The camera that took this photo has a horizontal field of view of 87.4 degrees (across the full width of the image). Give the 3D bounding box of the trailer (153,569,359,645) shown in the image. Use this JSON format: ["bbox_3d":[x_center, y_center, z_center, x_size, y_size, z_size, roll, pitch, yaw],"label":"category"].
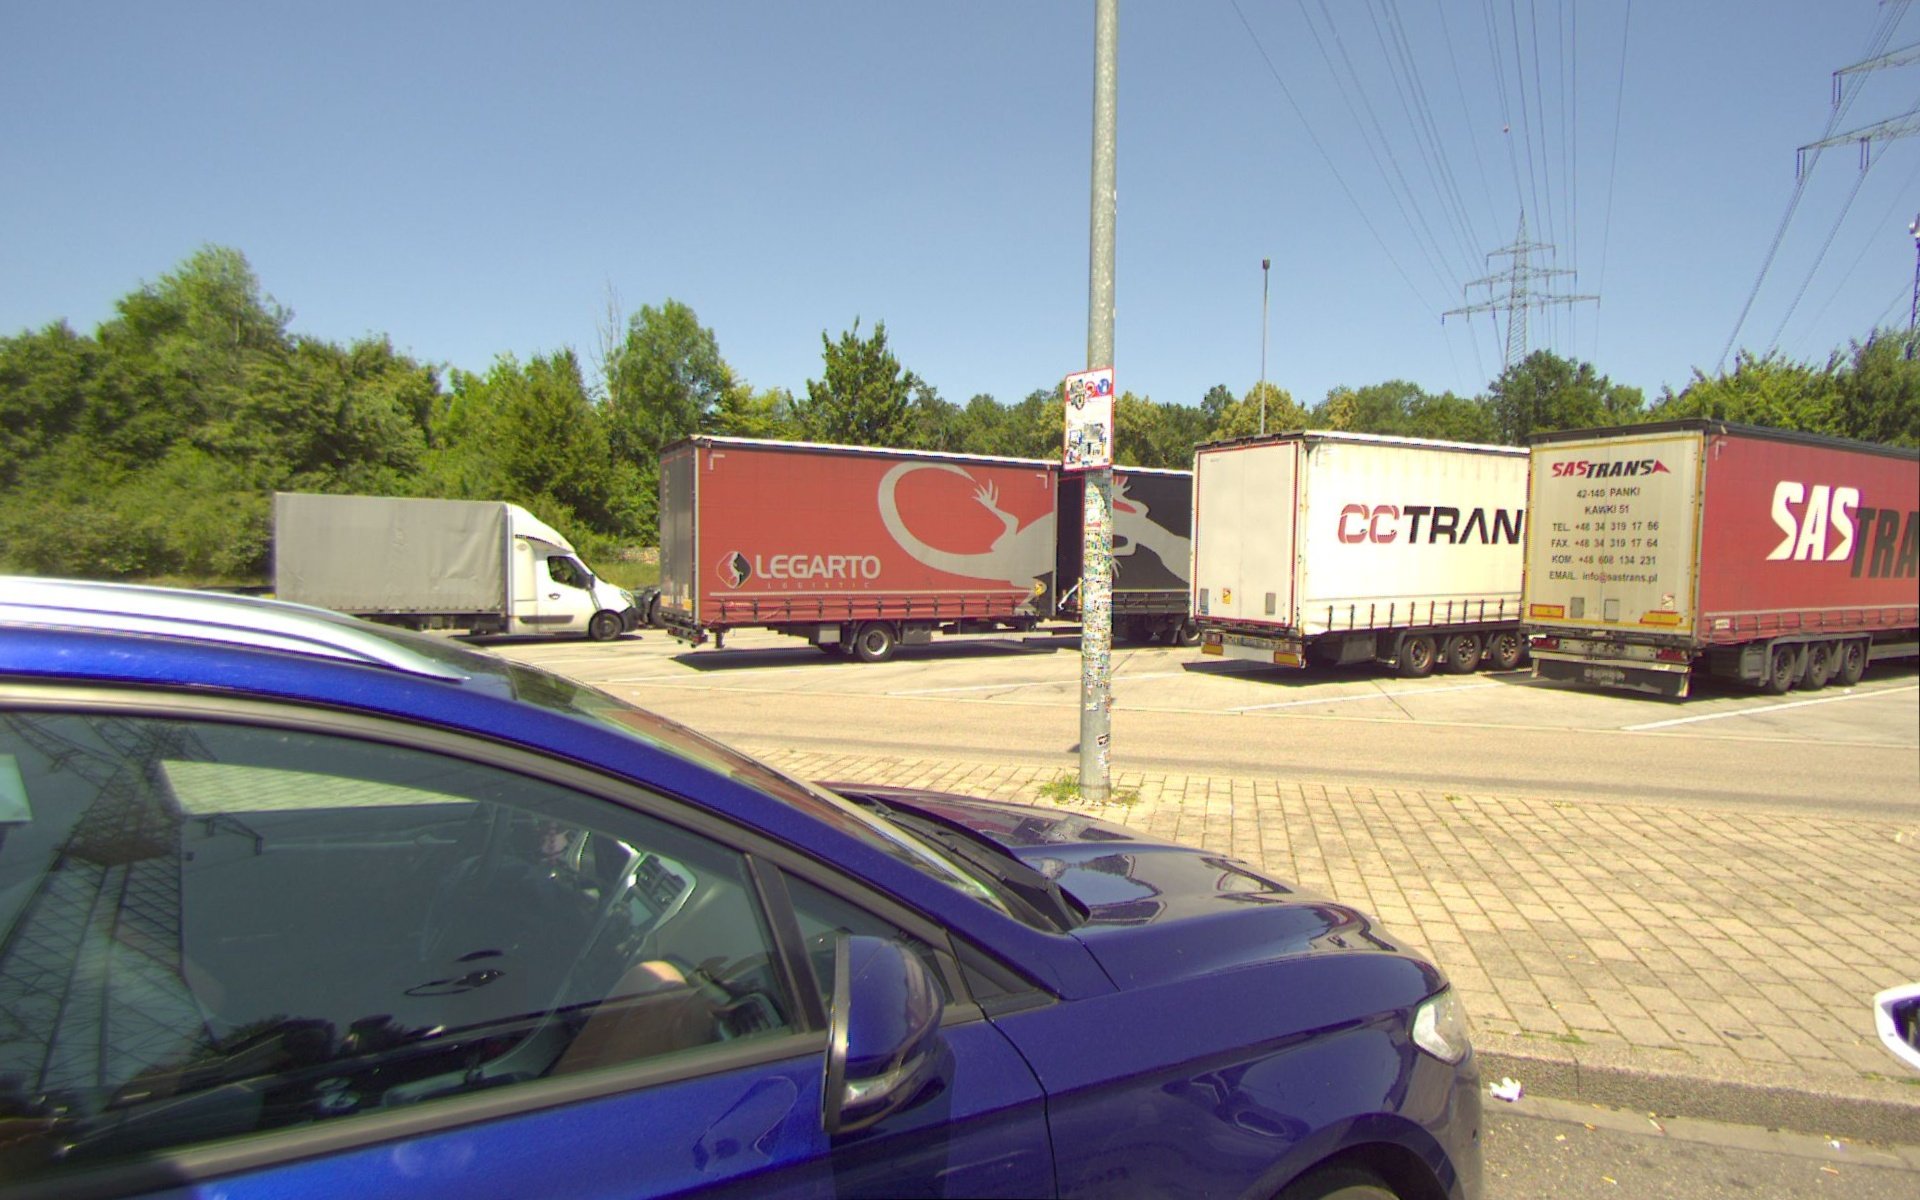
[{"bbox_3d":[-16.509,0.152,23.783,3.856,1.684,1.464,0,1,-30],"label":"trailer"}]

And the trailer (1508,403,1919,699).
[{"bbox_3d":[15.264,-0.674,18.497,13.129,4.112,2.736,0,1,-31],"label":"trailer"}]

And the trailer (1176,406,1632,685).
[{"bbox_3d":[8.708,-0.832,19.115,9.614,4.321,2.733,0,1,-29],"label":"trailer"}]

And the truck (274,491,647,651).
[{"bbox_3d":[-11.099,-0.601,22.881,7.265,3.170,2.352,0,1,-30],"label":"truck"}]

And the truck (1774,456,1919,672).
[{"bbox_3d":[20.815,-0.678,21.780,6.749,4.136,2.729,0,1,-31],"label":"truck"}]

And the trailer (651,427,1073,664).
[{"bbox_3d":[-1.794,-0.917,20.317,8.158,4.027,2.651,0,1,-31],"label":"trailer"}]

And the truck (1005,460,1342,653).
[{"bbox_3d":[5.397,-0.910,24.590,8.534,4.073,2.624,0,1,-30],"label":"truck"}]

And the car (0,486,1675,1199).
[{"bbox_3d":[-1.012,0.652,1.472,4.419,1.485,1.765,0,1,-32],"label":"car"}]
